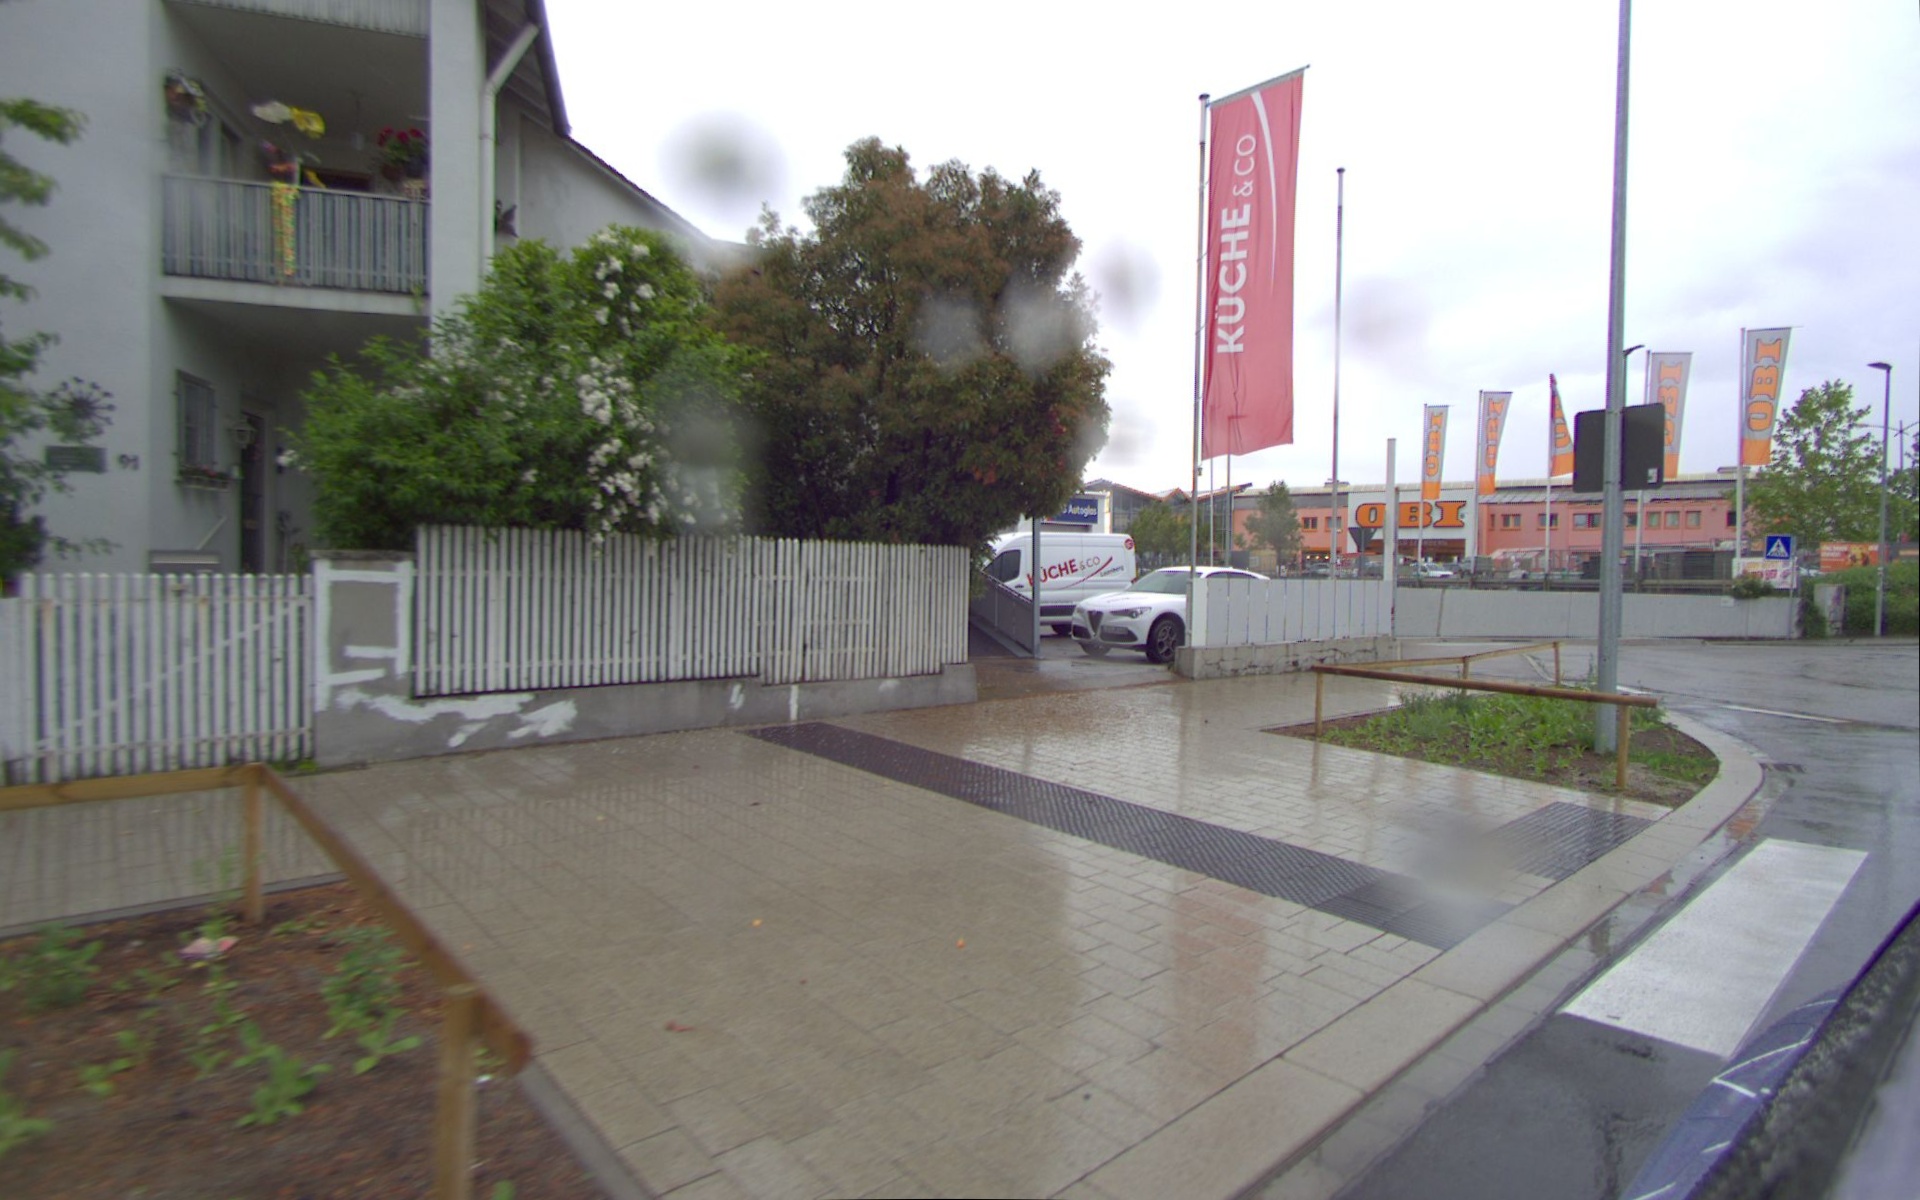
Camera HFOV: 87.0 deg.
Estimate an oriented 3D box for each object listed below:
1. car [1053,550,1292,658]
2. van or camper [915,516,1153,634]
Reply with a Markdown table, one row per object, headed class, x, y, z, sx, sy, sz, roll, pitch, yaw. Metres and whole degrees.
| class | x | y | z | sx | sy | sz | roll | pitch | yaw |
| --- | --- | --- | --- | --- | --- | --- | --- | --- | --- |
| car | 3.828 | 0.058 | 18.013 | 4.090 | 1.712 | 1.847 | 1 | 1 | -35 |
| van or camper | 1.748 | -0.543 | 24.017 | 5.153 | 2.572 | 2.135 | 1 | 1 | -21 |
